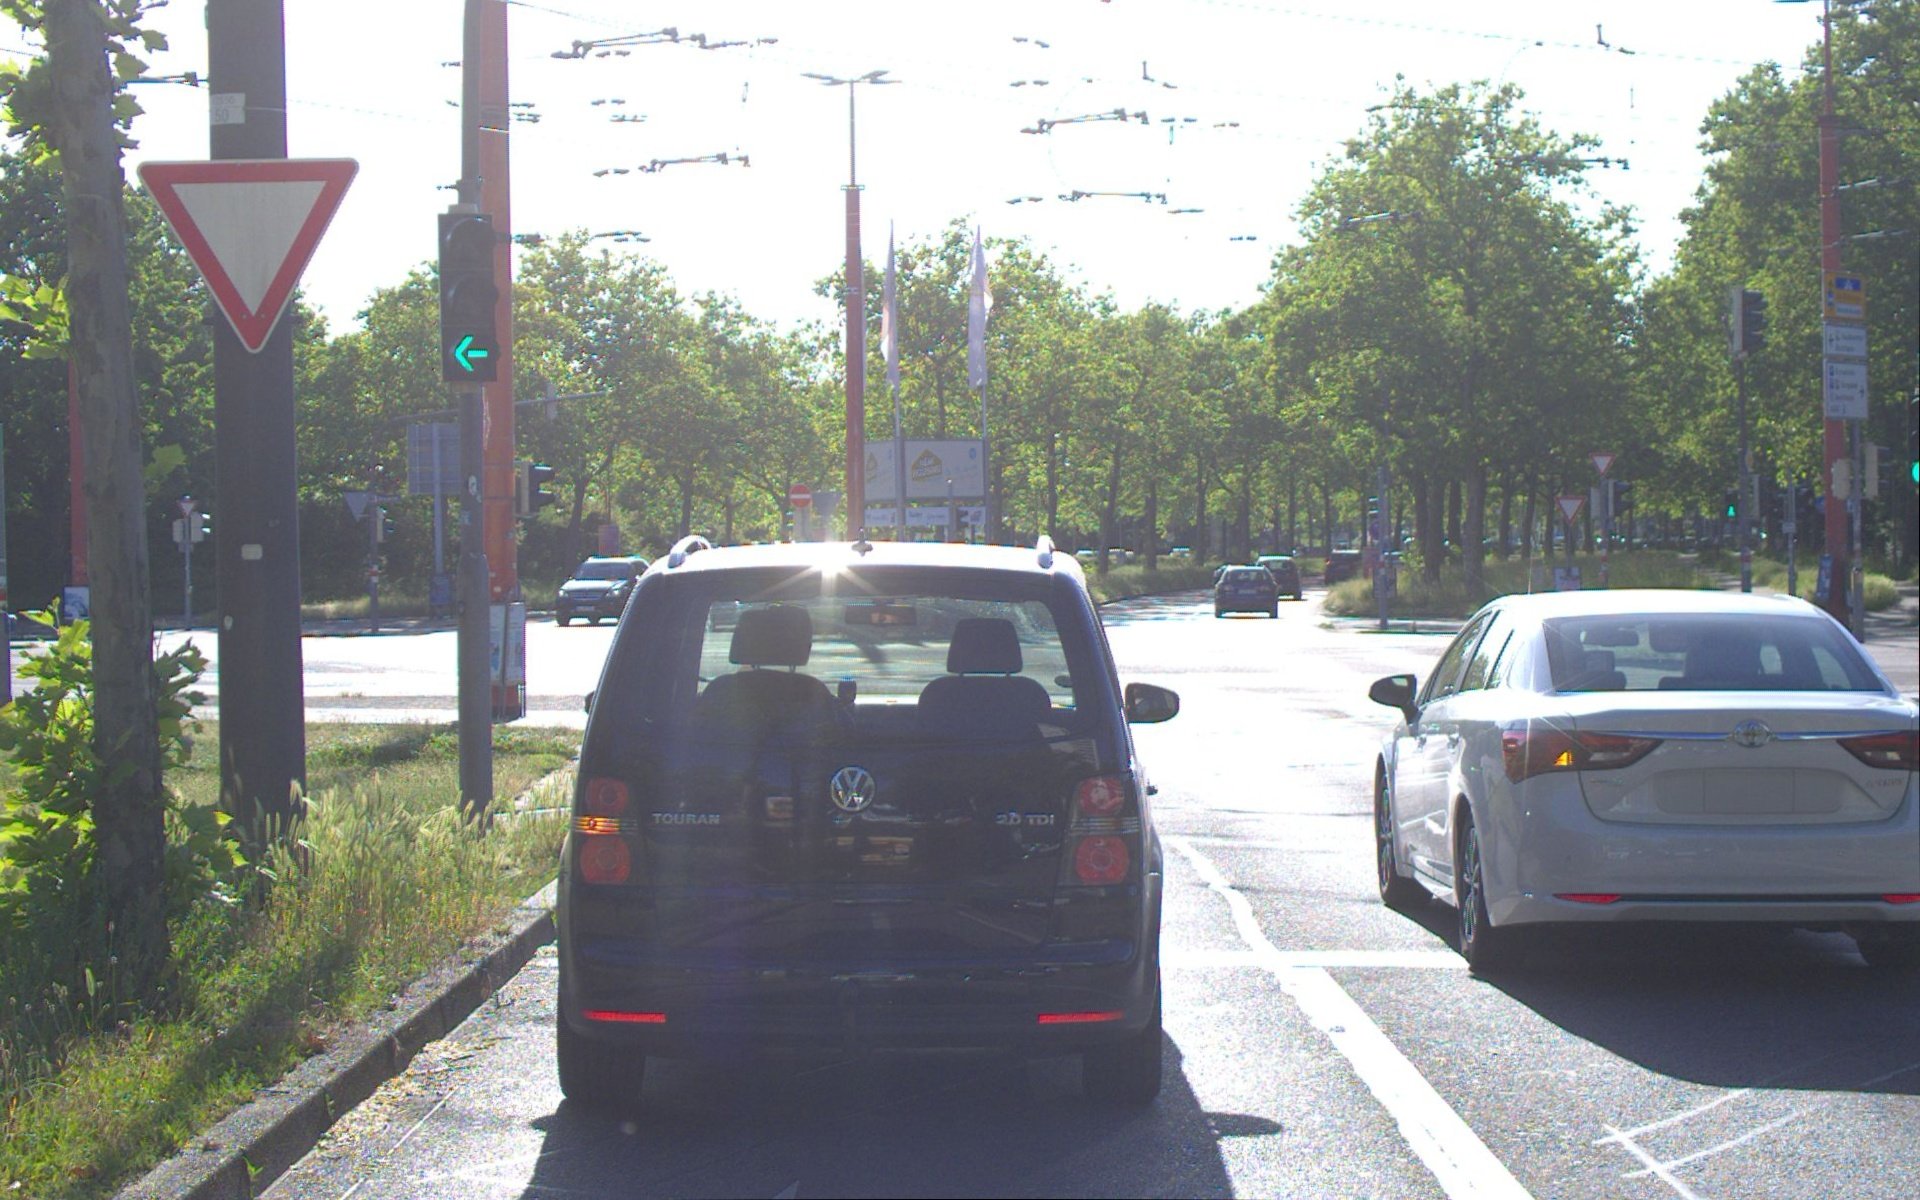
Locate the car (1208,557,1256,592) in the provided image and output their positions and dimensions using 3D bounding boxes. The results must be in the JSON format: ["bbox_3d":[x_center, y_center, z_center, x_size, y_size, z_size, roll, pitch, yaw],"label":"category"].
[{"bbox_3d":[11.351,-1.077,143.249,1.790,1.383,4.048,1,1,7],"label":"car"}]

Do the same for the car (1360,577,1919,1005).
[{"bbox_3d":[2.777,0.660,14.306,1.767,1.459,4.366,0,1,1],"label":"car"}]

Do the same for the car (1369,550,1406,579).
[{"bbox_3d":[21.976,-1.833,176.720,1.790,1.383,4.049,1,1,6],"label":"car"}]

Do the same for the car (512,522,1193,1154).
[{"bbox_3d":[-0.297,0.582,11.438,1.767,1.638,4.923,0,1,0],"label":"car"}]

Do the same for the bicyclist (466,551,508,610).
[{"bbox_3d":[-12.769,-0.535,92.835,0.759,1.552,0.980,-1,1,17],"label":"bicyclist"}]

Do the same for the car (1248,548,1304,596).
[{"bbox_3d":[11.049,-0.958,120.304,1.873,1.621,3.999,1,0,5],"label":"car"}]

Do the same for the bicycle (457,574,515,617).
[{"bbox_3d":[-12.785,-0.117,92.766,0.764,1.087,2.014,-1,2,17],"label":"bicycle"}]

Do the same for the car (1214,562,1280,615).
[{"bbox_3d":[8.020,-0.335,96.114,1.790,1.383,4.049,1,1,5],"label":"car"}]

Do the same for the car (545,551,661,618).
[{"bbox_3d":[-9.552,-0.439,92.268,1.903,1.720,4.652,0,1,10],"label":"car"}]

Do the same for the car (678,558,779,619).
[{"bbox_3d":[-6.028,-0.319,89.972,1.768,1.533,4.090,0,1,9],"label":"car"}]

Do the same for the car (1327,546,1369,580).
[{"bbox_3d":[17.579,-1.694,155.719,1.790,1.497,4.048,1,1,8],"label":"car"}]
